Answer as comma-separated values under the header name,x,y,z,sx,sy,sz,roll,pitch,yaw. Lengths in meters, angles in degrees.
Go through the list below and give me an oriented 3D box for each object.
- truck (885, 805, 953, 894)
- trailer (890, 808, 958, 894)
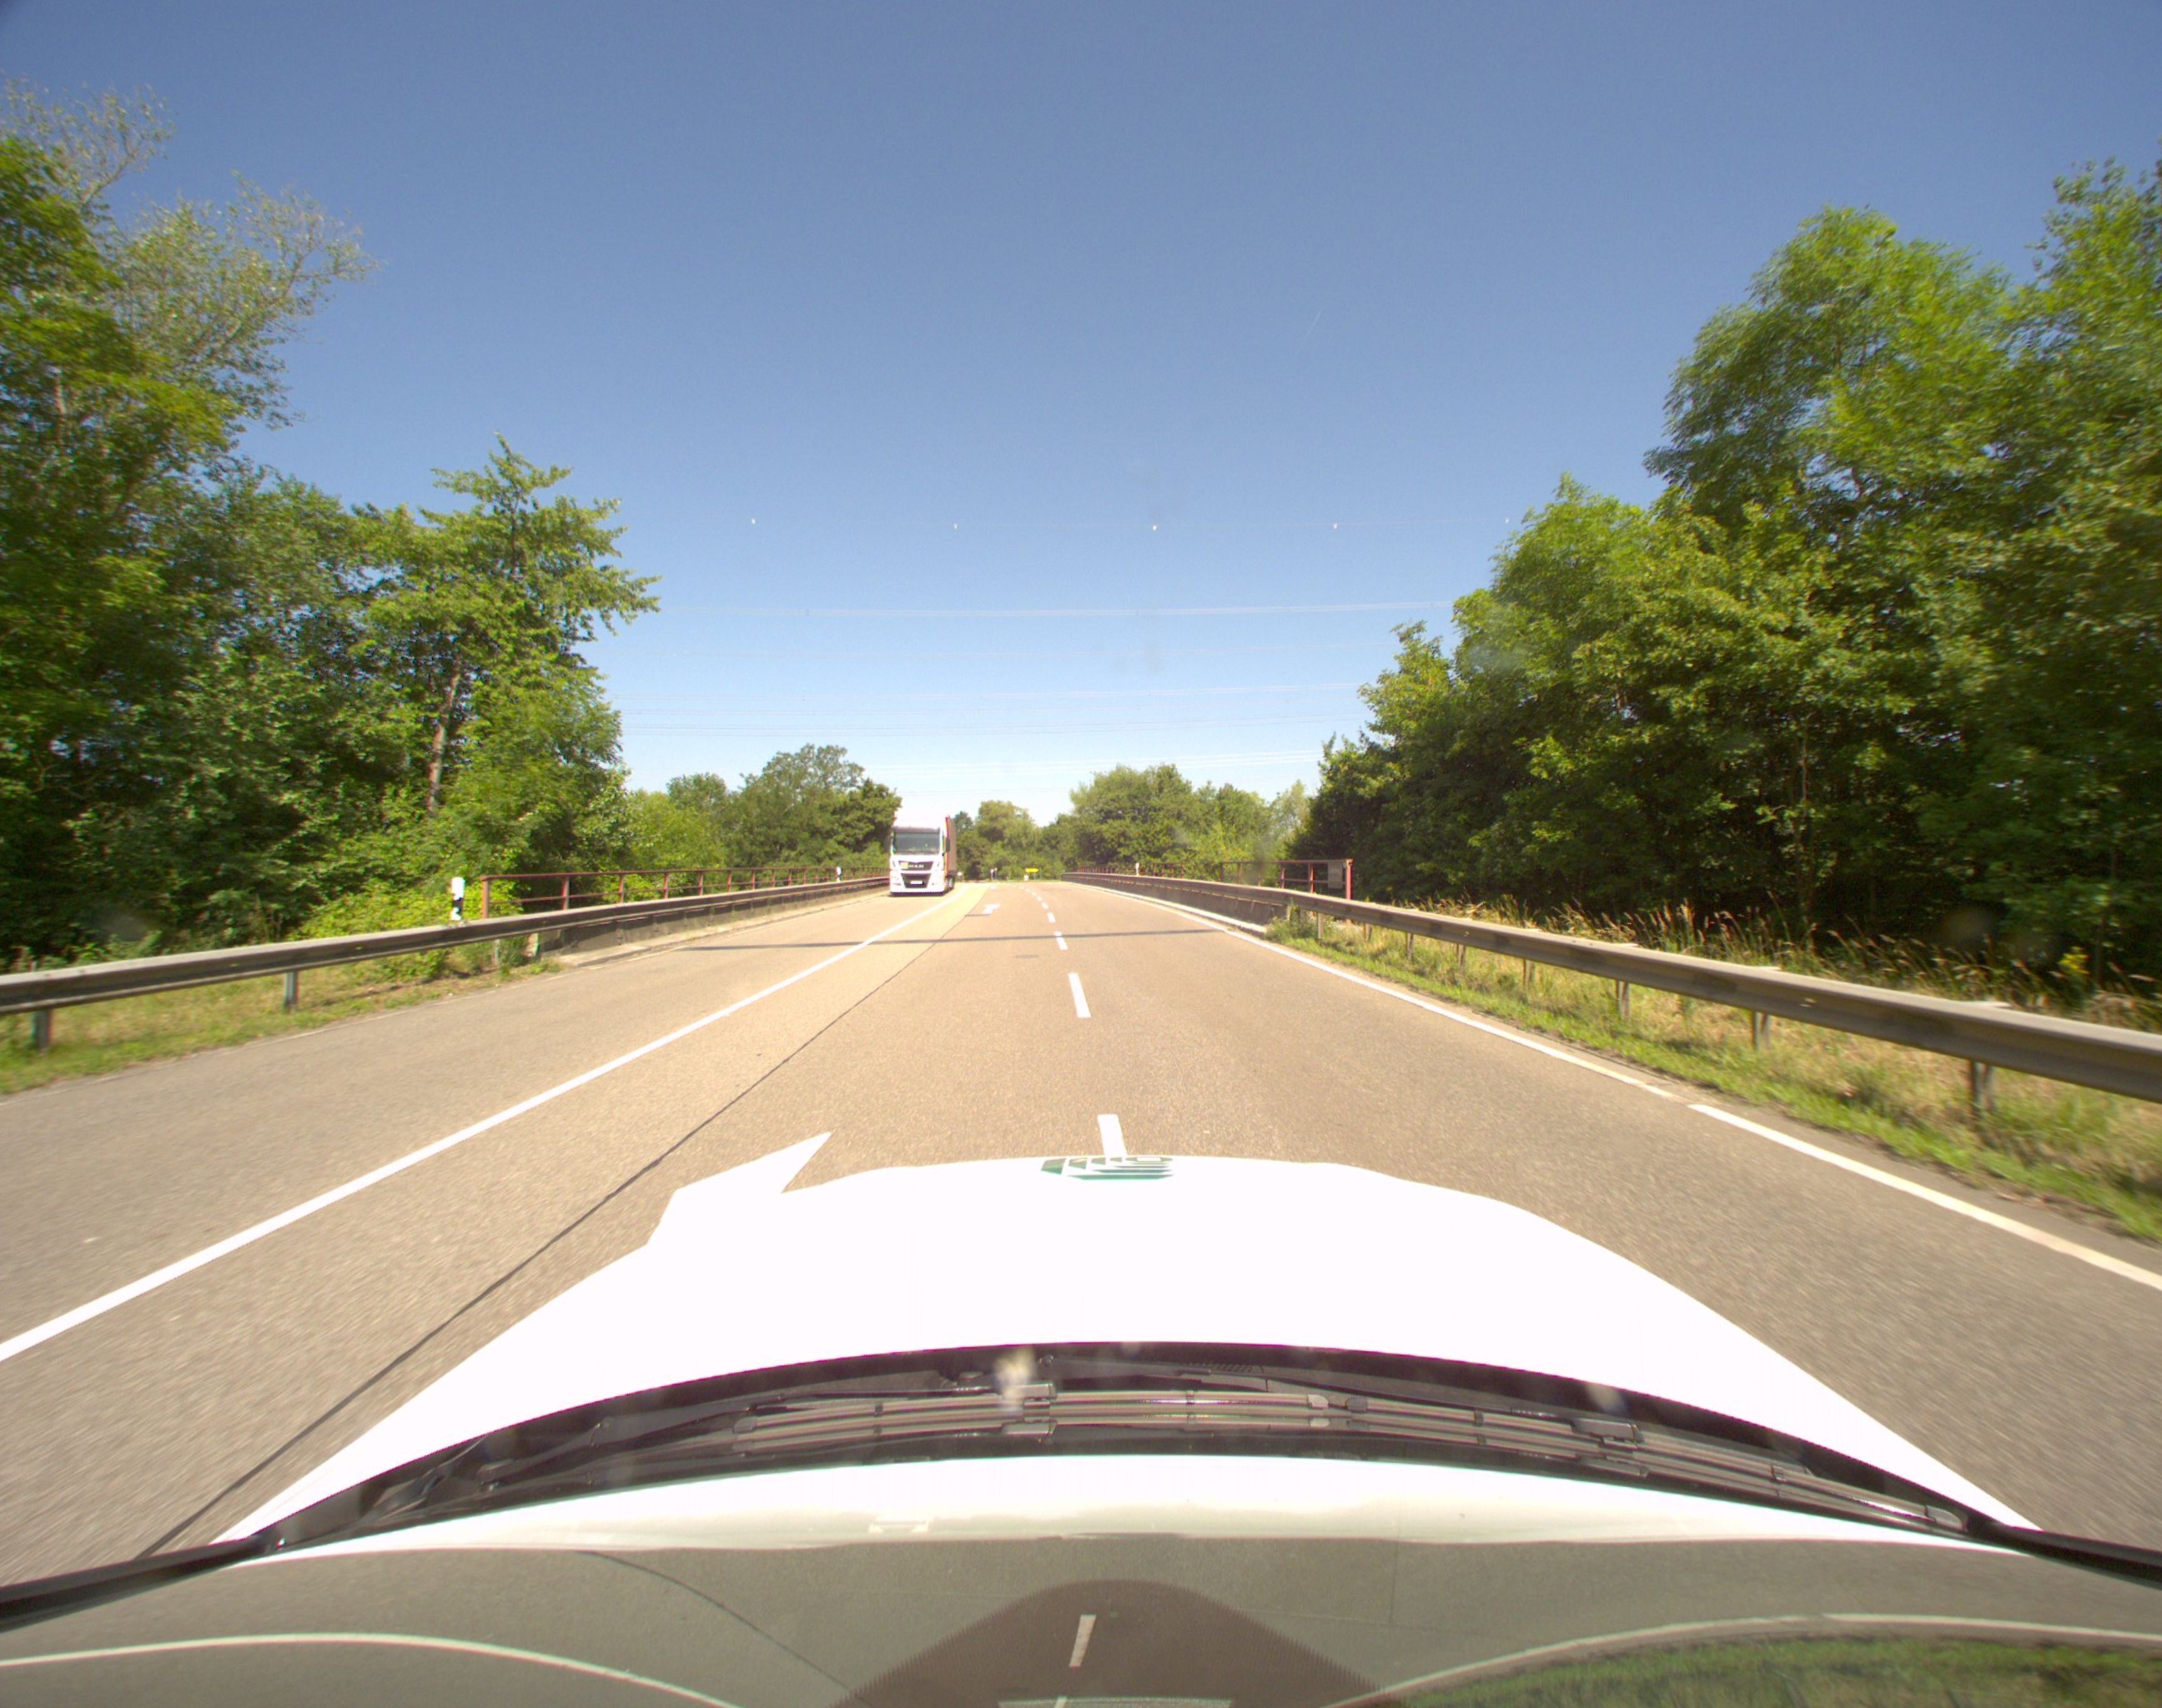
name,x,y,z,sx,sy,sz,roll,pitch,yaw
truck,-7.852,-0.155,40.035,2.767,4.034,5.840,-1,-1,-7
trailer,-8.628,-0.028,46.281,2.766,4.062,14.162,-1,-1,-7
